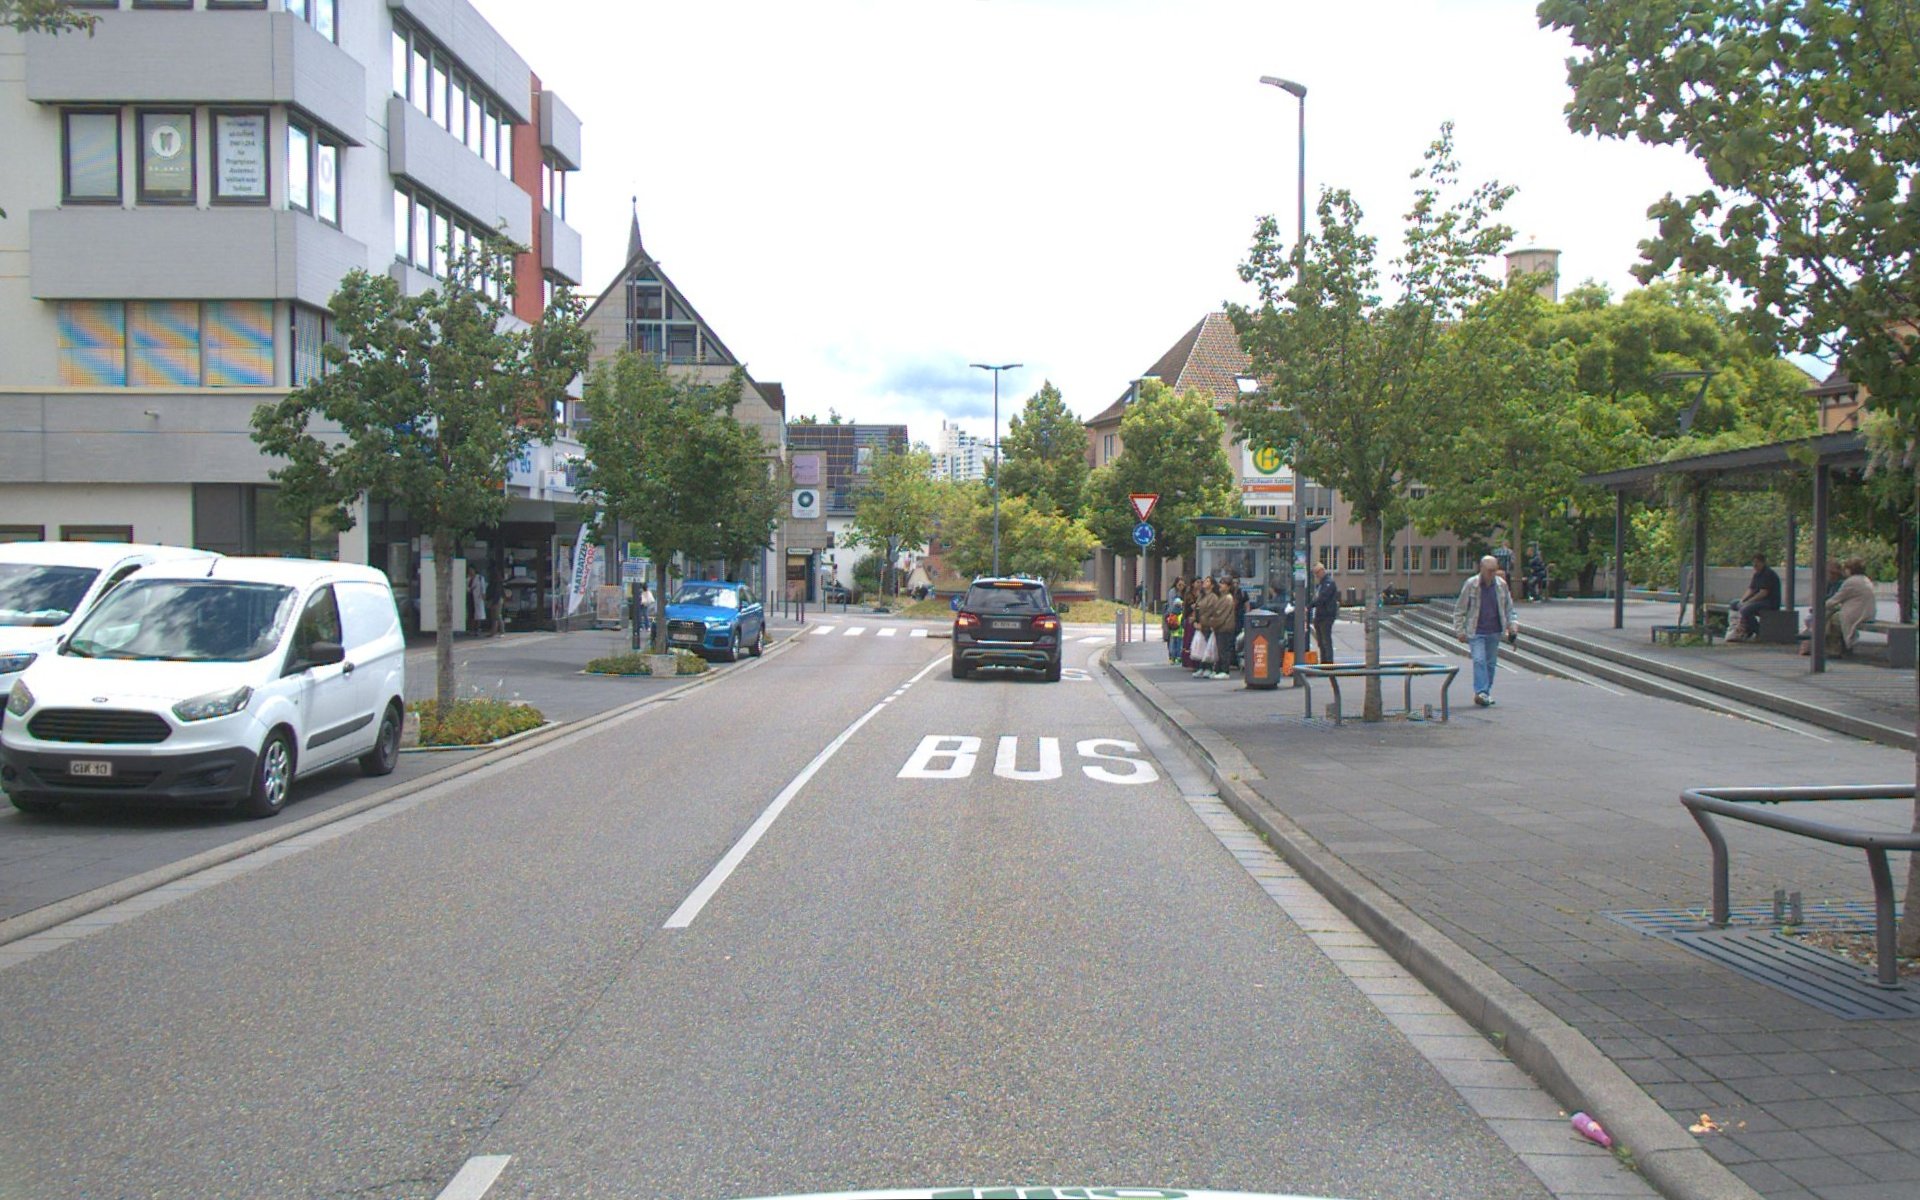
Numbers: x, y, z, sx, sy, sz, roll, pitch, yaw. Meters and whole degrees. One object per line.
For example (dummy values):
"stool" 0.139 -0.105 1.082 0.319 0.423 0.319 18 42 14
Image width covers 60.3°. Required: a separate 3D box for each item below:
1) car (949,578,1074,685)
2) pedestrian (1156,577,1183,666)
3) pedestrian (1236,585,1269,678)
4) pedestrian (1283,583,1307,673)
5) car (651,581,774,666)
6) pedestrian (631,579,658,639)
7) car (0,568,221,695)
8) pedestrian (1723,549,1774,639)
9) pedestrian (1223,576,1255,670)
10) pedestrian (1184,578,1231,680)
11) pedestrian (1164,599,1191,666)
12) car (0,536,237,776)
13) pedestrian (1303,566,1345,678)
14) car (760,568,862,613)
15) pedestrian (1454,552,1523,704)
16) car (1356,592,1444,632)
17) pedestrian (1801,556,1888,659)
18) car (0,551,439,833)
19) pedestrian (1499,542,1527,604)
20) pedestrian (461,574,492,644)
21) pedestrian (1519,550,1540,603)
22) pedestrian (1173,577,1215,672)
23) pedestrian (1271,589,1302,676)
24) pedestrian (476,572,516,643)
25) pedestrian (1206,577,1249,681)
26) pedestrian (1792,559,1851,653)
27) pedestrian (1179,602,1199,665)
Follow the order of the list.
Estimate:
"car" 0.851 0.598 29.823 1.986 1.758 4.431 1 -2 -1
"pedestrian" 3.971 0.404 31.304 0.378 1.648 0.469 -2 0 16
"pedestrian" 4.695 0.507 26.552 0.370 1.467 0.415 -2 0 -5
"pedestrian" 5.619 0.465 27.711 0.269 1.484 0.319 -1 0 -12
"car" -5.260 0.473 35.676 1.659 1.627 4.334 3 0 4
"pedestrian" -8.682 0.243 45.570 0.574 1.616 0.639 1 0 3
"car" -11.924 0.395 21.863 3.557 1.585 1.667 1 0 -6
"pedestrian" 11.942 -0.095 25.062 0.555 1.347 0.546 1 0 11
"pedestrian" 4.784 0.395 28.326 0.388 1.593 0.349 -1 0 -26
"pedestrian" 3.886 0.444 25.996 0.483 1.576 0.535 -1 0 -45
"pedestrian" 4.042 0.603 30.765 0.394 1.247 0.388 -1 0 23
"car" -8.260 0.406 14.900 1.721 1.845 4.473 2 0 -4
"pedestrian" 5.657 0.336 25.720 0.501 1.710 0.576 -1 0 1
"car" -9.608 -0.580 106.963 6.191 2.605 2.193 2 -3 -20
"pedestrian" 6.047 0.316 18.965 0.670 1.711 0.715 0 0 12
"car" 16.352 0.428 61.368 1.586 1.407 3.812 1 1 43
"pedestrian" 11.353 0.090 21.232 0.669 1.291 0.761 0 0 -36
"car" -5.334 0.567 12.340 1.623 1.701 4.349 1 0 -2
"pedestrian" 13.719 -0.675 41.056 0.493 1.535 0.453 -1 1 -10
"pedestrian" -11.232 0.204 38.459 0.499 1.594 0.587 -1 0 2
"pedestrian" 14.241 -0.589 41.386 0.355 1.308 0.642 0 1 6
"pedestrian" 3.995 0.410 28.242 0.493 1.593 0.494 -1 0 -25
"pedestrian" 5.080 0.508 25.745 0.381 1.329 0.355 -2 0 3
"pedestrian" -10.602 0.166 37.809 0.629 1.594 0.587 -1 0 15
"pedestrian" 4.124 0.444 25.484 0.503 1.576 0.487 -1 0 28
"pedestrian" 11.554 0.077 22.190 0.555 1.249 0.567 1 0 11
"pedestrian" 4.307 0.624 31.138 0.291 1.172 0.293 -2 0 0
